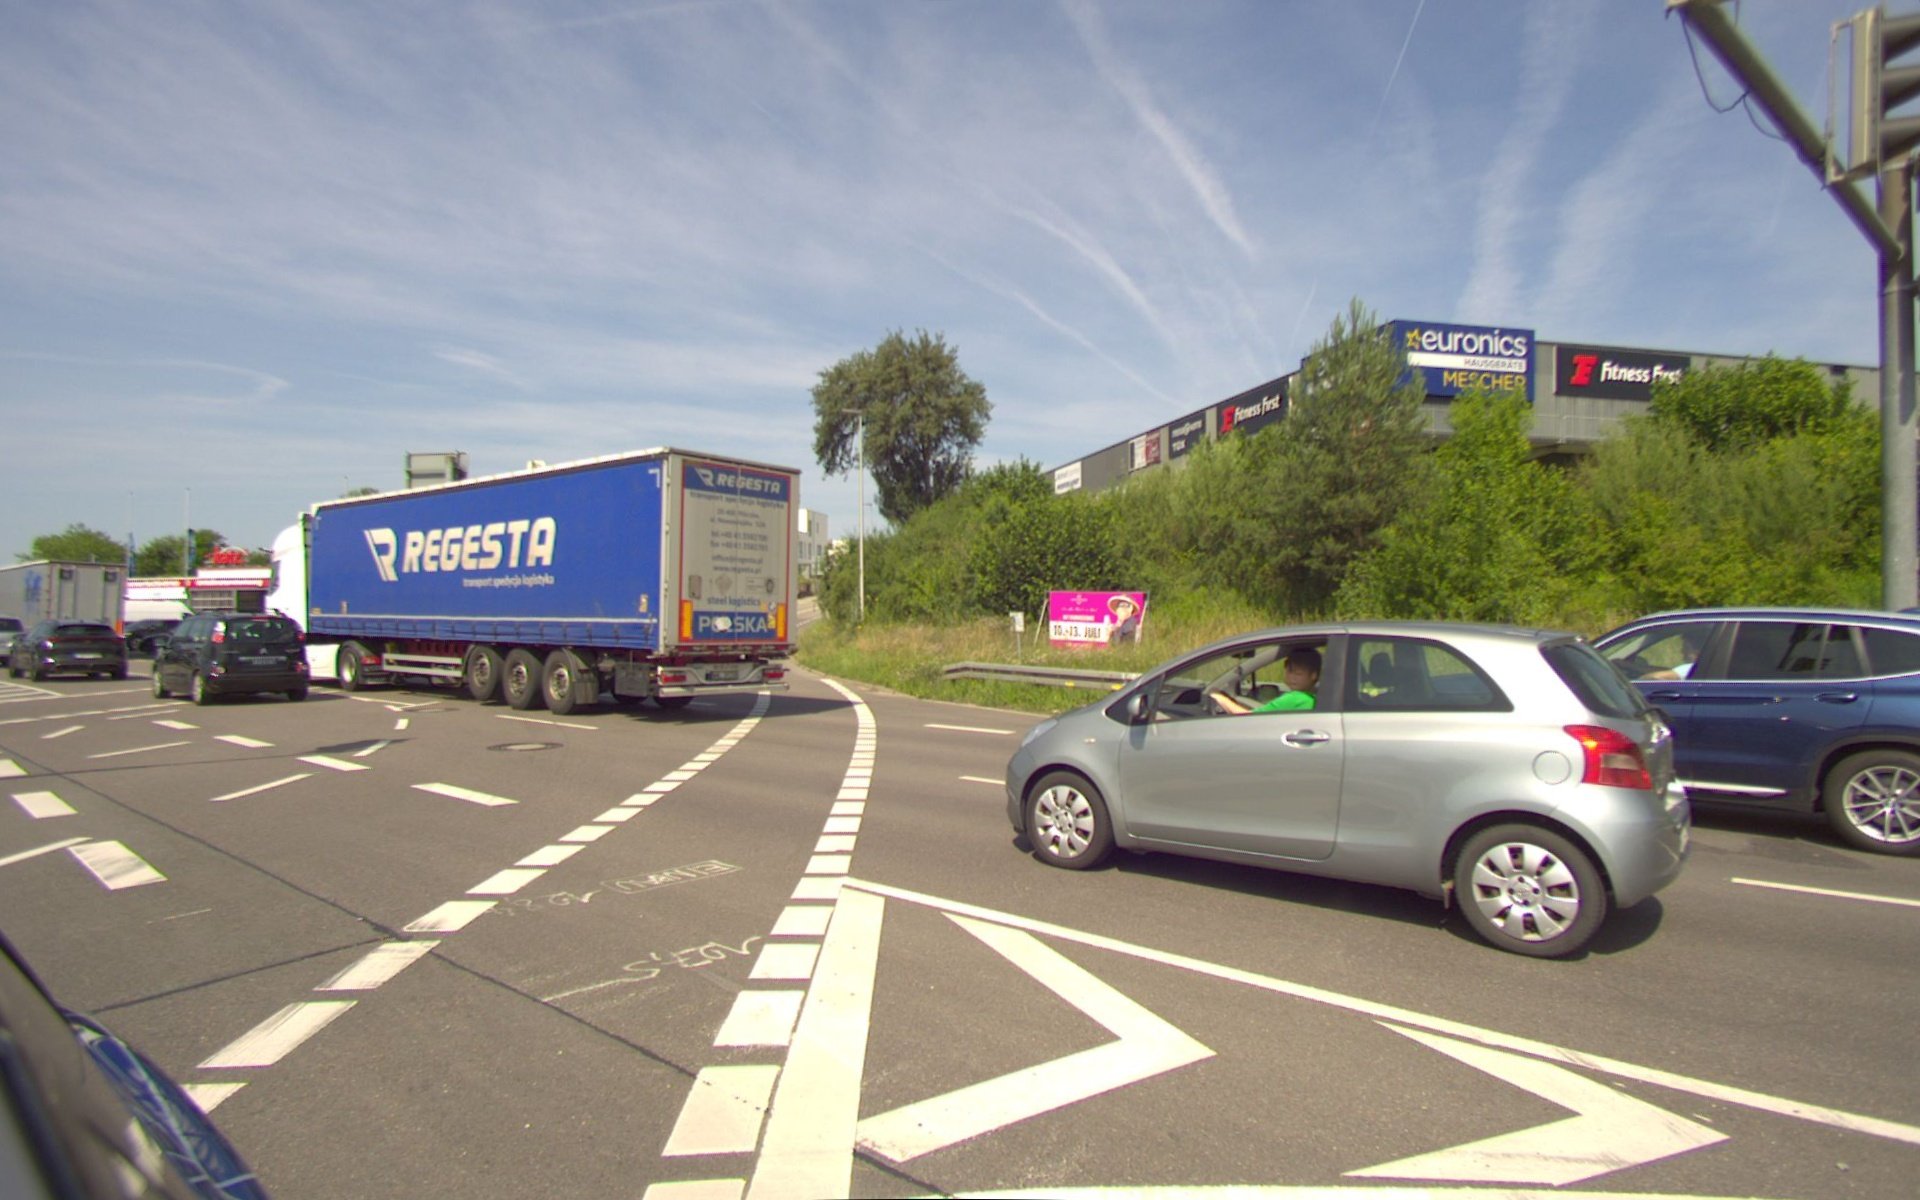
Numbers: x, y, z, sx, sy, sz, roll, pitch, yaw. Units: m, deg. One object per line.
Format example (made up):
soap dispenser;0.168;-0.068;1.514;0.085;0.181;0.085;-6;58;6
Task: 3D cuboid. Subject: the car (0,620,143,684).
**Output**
car;-22.666;1.261;25.727;4.448;1.496;1.974;-1;-2;38

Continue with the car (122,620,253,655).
car;-36.298;1.756;47.642;4.570;1.447;1.976;-1;0;-5

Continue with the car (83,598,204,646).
car;-50.949;1.405;63.247;2.116;2.860;5.645;-2;-3;43

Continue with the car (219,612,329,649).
car;-35.682;1.574;52.715;4.404;1.762;1.894;-1;0;-2

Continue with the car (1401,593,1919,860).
car;5.945;0.831;7.806;4.303;1.689;1.974;-1;-2;39

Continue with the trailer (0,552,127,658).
trailer;-40.694;0.294;45.403;13.869;4.179;2.664;-1;-2;40

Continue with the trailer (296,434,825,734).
trailer;-8.570;-0.111;19.560;14.113;4.111;3.062;-1;-2;40

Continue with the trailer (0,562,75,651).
trailer;-46.202;0.352;50.015;6.174;4.136;2.619;-1;-2;39

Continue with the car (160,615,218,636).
car;-63.068;2.049;82.798;4.510;1.667;1.860;-1;-1;25

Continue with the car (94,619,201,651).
car;-43.684;1.873;54.530;2.010;1.635;4.164;0;-1;14

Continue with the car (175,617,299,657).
car;-32.790;1.639;46.083;1.871;1.486;4.705;-1;2;8

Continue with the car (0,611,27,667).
car;-32.303;1.285;33.240;4.584;1.746;1.825;-2;-1;39

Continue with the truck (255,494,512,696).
truck;-13.647;-0.036;23.776;6.339;4.111;3.156;-1;-2;39

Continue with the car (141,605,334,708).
car;-13.675;0.995;19.087;3.996;1.739;1.974;-1;-2;39

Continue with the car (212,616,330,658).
car;-30.426;1.611;44.905;1.929;1.524;4.715;-1;2;1

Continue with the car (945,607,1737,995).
car;1.986;0.830;5.906;3.996;1.513;1.708;-1;-2;39
